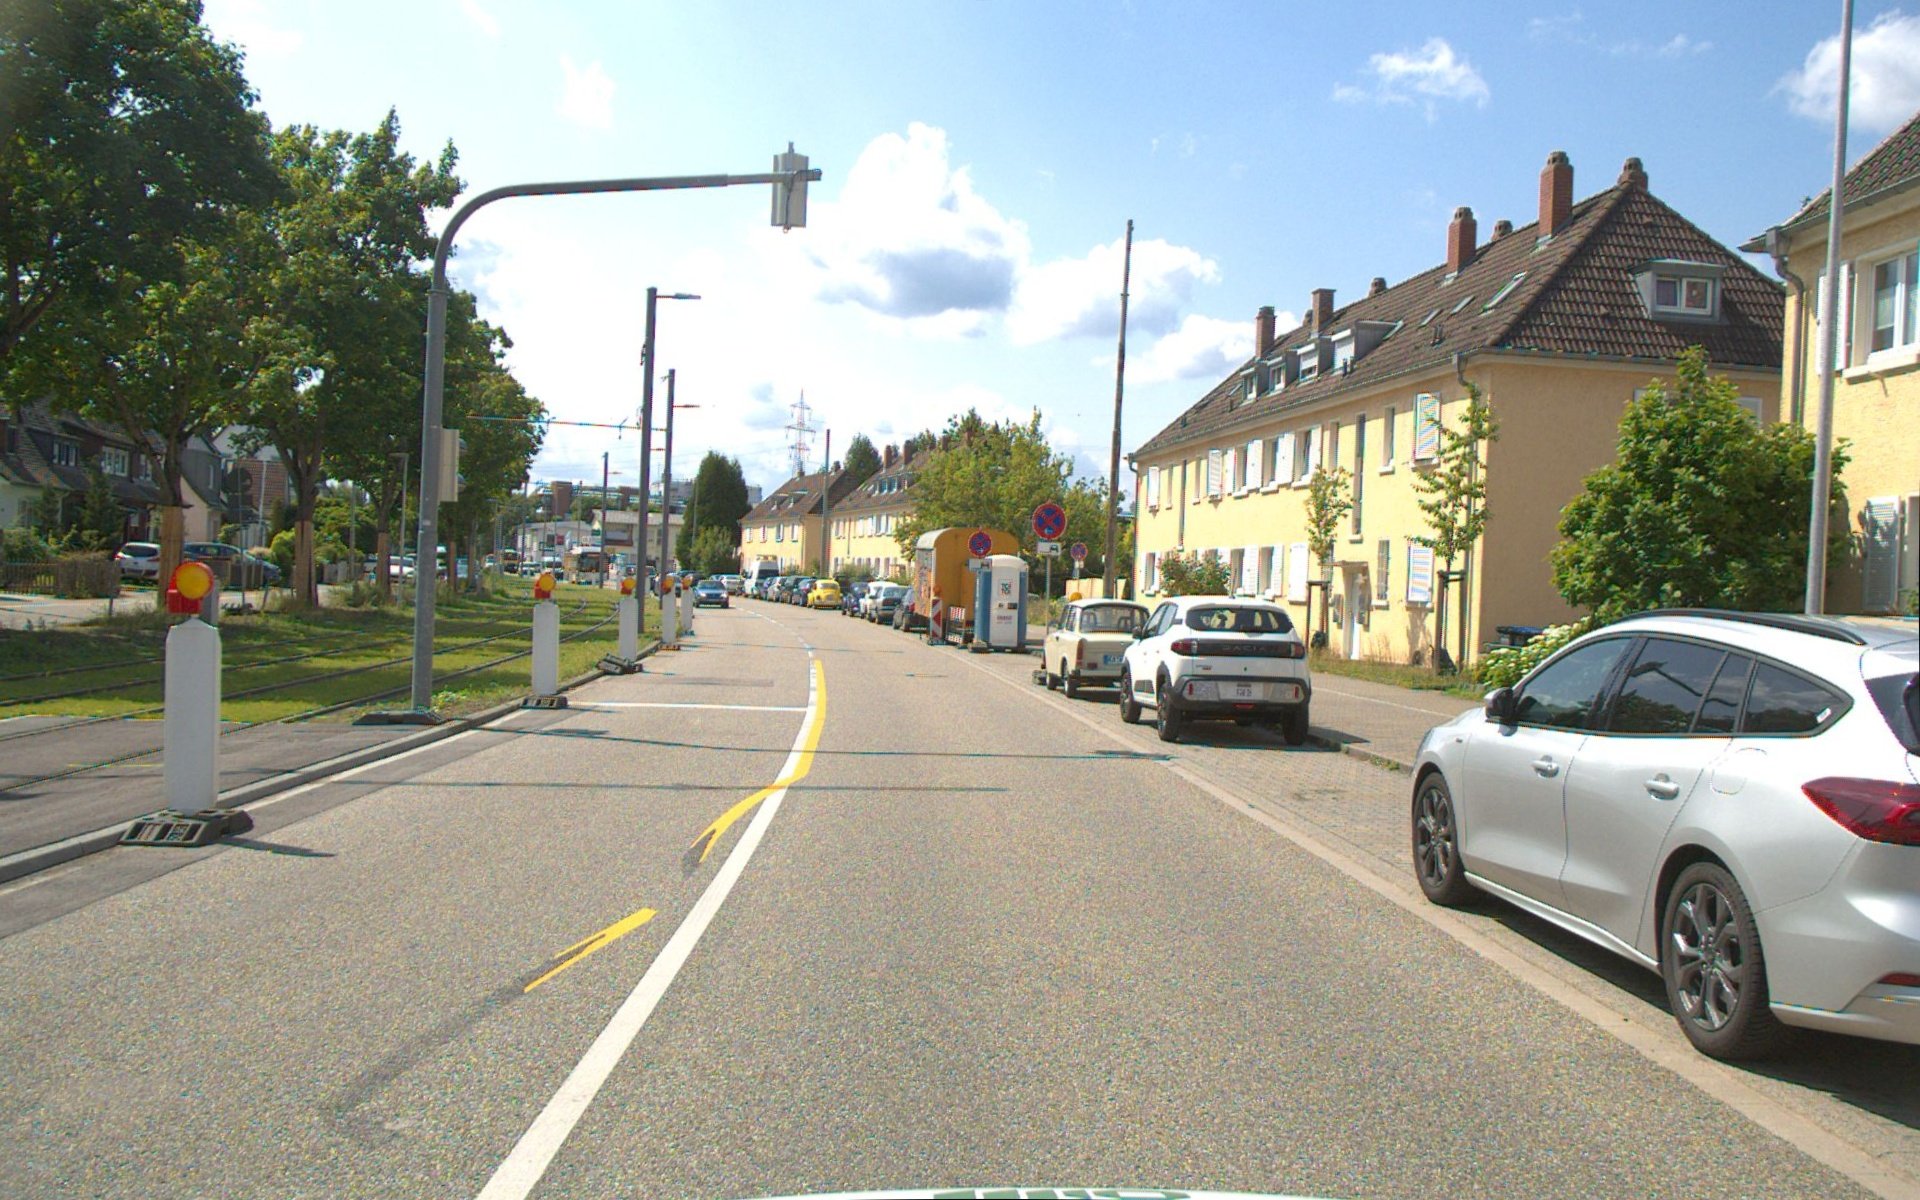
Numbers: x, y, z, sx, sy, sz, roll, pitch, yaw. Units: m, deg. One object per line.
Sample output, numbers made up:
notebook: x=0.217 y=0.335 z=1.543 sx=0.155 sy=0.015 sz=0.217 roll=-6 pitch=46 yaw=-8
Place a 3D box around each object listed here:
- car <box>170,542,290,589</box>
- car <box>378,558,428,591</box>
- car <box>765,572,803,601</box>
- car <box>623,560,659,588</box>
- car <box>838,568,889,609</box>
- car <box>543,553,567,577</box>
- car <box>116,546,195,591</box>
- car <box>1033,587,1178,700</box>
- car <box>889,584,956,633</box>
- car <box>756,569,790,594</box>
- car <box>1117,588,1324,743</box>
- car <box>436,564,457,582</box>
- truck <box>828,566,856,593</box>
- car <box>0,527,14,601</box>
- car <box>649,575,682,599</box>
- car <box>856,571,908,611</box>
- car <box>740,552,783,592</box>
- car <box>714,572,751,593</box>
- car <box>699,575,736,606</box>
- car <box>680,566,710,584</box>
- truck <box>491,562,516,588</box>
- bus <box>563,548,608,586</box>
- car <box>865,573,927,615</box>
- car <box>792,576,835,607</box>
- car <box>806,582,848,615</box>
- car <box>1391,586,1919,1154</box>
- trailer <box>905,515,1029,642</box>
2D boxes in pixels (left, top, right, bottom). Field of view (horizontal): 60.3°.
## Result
car: x=-31.522 y=-1.482 z=71.553 sx=4.396 sy=1.868 sz=2.057 roll=2 pitch=1 yaw=-15
car: x=-32.046 y=-1.483 z=95.243 sx=1.846 sy=1.799 sz=5.073 roll=2 pitch=1 yaw=-9
car: x=-10.577 y=-0.831 z=98.998 sx=1.609 sy=1.630 sz=4.013 roll=2 pitch=1 yaw=-15
car: x=-23.925 y=-1.938 z=124.061 sx=1.926 sy=2.000 sz=5.265 roll=1 pitch=1 yaw=-19
car: x=-4.268 y=-0.534 z=72.561 sx=1.522 sy=1.669 sz=4.233 roll=2 pitch=1 yaw=-13
car: x=-44.478 y=-3.835 z=181.634 sx=2.071 sy=2.486 sz=5.541 roll=2 pitch=1 yaw=-19
car: x=-29.452 y=-1.147 z=60.622 sx=1.698 sy=1.544 sz=4.031 roll=2 pitch=1 yaw=-13
car: x=2.125 y=0.593 z=25.134 sx=1.435 sy=1.528 sz=4.105 roll=1 pitch=1 yaw=-6
car: x=-1.274 y=0.253 z=54.680 sx=1.548 sy=1.474 sz=4.443 roll=2 pitch=1 yaw=-10
car: x=-11.737 y=-1.192 z=103.569 sx=1.511 sy=1.470 sz=3.722 roll=2 pitch=1 yaw=-15
car: x=2.786 y=0.645 z=18.443 sx=1.497 sy=1.507 sz=3.807 roll=1 pitch=1 yaw=-3
car: x=-45.543 y=-2.426 z=146.656 sx=1.702 sy=1.531 sz=4.544 roll=0 pitch=2 yaw=-18
truck: x=-7.680 y=-1.318 z=107.796 sx=1.324 sy=1.718 sz=2.431 roll=2 pitch=0 yaw=-16
car: x=-27.119 y=-1.082 z=43.371 sx=3.840 sy=1.929 sz=1.925 roll=4 pitch=0 yaw=-29
car: x=-18.972 y=-0.839 z=106.546 sx=1.696 sy=1.413 sz=4.104 roll=2 pitch=1 yaw=-16
car: x=-3.203 y=-0.400 z=67.545 sx=1.548 sy=1.539 sz=4.450 roll=2 pitch=1 yaw=-10
car: x=-13.066 y=-1.880 z=108.736 sx=1.898 sy=2.524 sz=5.493 roll=1 pitch=1 yaw=-16
car: x=-16.665 y=-1.275 z=121.091 sx=1.772 sy=1.483 sz=4.737 roll=0 pitch=1 yaw=-20
car: x=-12.316 y=-0.501 z=84.003 sx=1.636 sy=1.474 sz=3.948 roll=-1 pitch=1 yaw=-12
car: x=-21.548 y=-2.018 z=134.484 sx=1.737 sy=1.441 sz=3.978 roll=0 pitch=2 yaw=-20
truck: x=-65.416 y=-3.603 z=236.957 sx=2.525 sy=3.519 sz=7.101 roll=0 pitch=2 yaw=-22
bus: x=-35.469 y=-3.176 z=156.311 sx=2.598 sy=3.472 sz=12.175 roll=0 pitch=1 yaw=-20
car: x=-2.455 y=-0.261 z=62.513 sx=1.675 sy=1.474 sz=4.824 roll=2 pitch=1 yaw=-10
car: x=-7.996 y=-0.488 z=89.743 sx=1.609 sy=1.508 sz=4.108 roll=2 pitch=1 yaw=-15
car: x=-6.823 y=-0.107 z=84.541 sx=1.608 sy=1.508 sz=3.919 roll=-1 pitch=2 yaw=-13
car: x=3.275 y=0.725 z=6.681 sx=1.715 sy=1.524 sz=4.383 roll=1 pitch=0 yaw=-3
trailer: x=0.099 y=-0.617 z=46.295 sx=2.640 sy=3.282 sz=5.072 roll=2 pitch=1 yaw=-9
